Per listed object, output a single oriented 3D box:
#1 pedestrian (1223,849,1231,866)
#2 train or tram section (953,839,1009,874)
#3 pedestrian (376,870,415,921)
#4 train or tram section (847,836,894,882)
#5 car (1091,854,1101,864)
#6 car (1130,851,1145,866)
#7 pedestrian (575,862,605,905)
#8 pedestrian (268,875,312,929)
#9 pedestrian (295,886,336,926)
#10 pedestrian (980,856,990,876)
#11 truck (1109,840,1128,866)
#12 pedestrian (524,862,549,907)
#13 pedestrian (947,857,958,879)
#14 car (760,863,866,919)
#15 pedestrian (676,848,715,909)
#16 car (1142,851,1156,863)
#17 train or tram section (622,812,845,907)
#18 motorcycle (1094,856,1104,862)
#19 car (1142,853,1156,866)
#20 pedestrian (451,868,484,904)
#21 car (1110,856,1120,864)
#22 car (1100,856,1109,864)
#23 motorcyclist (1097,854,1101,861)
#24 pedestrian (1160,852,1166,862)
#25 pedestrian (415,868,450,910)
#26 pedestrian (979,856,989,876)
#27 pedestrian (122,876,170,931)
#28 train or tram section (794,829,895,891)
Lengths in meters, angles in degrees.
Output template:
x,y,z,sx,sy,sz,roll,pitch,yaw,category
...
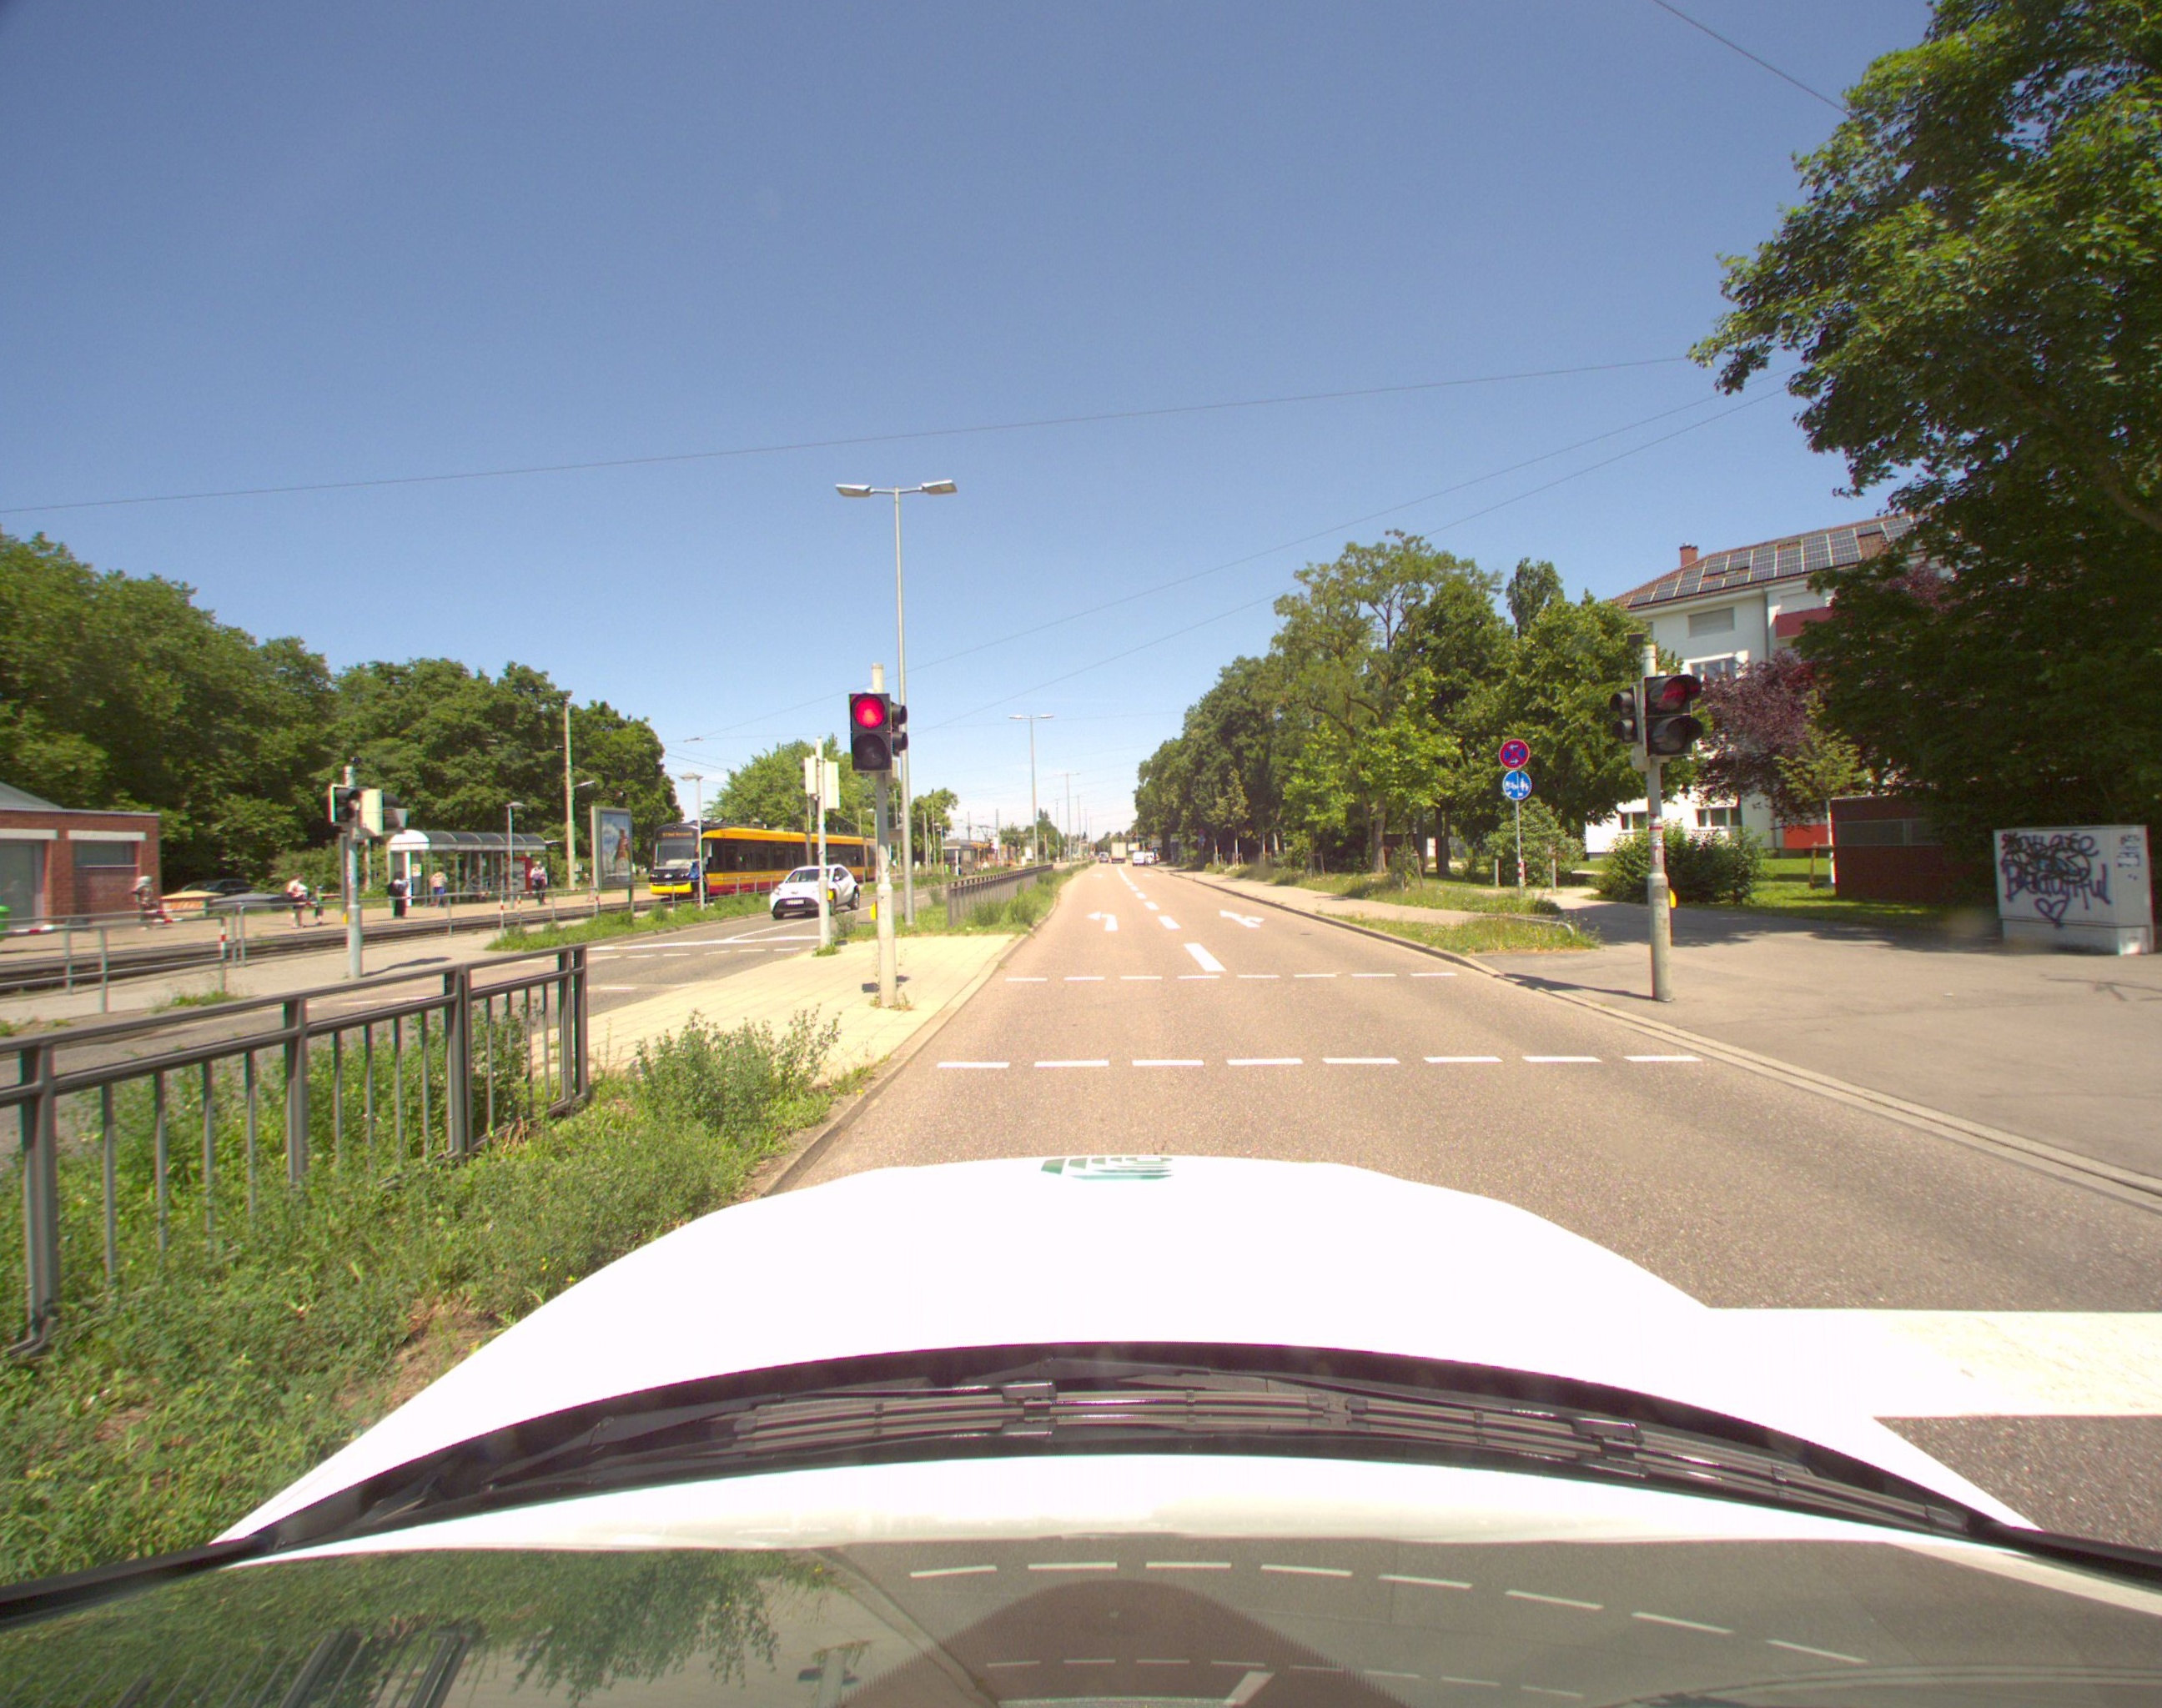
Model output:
x,y,z,sx,sy,sz,roll,pitch,yaw,category
12.663,0.313,70.495,0.600,1.438,0.557,-2,0,8,pedestrian
-12.299,0.337,104.262,2.947,3.749,30.035,-2,0,1,train or tram section
-21.556,1.282,25.616,0.635,1.555,0.691,-2,0,-11,pedestrian
-20.665,0.518,79.079,3.225,3.931,18.385,-2,0,-18,train or tram section
3.311,1.102,175.329,1.986,2.013,4.002,-2,0,2,car
7.290,0.565,105.536,1.773,1.903,4.002,-2,0,2,car
-21.216,1.249,35.179,0.715,1.777,0.843,3,2,1,pedestrian
-22.073,1.340,22.730,0.636,1.456,0.583,-2,0,1,pedestrian
-22.285,1.512,23.715,0.636,1.124,0.570,-2,0,1,pedestrian
-9.916,1.241,84.062,0.812,2.013,0.939,-2,0,1,pedestrian
6.760,-0.165,146.134,3.193,4.359,6.563,-2,0,2,truck
-22.331,1.244,33.412,0.725,1.800,0.835,-1,-1,-41,pedestrian
-10.983,1.201,69.725,0.783,1.868,0.818,-2,0,1,pedestrian
-8.097,1.071,24.961,1.838,1.494,3.793,-2,0,2,car
-11.899,0.746,25.169,0.715,1.777,0.843,3,2,1,pedestrian
9.899,0.464,118.759,1.773,1.668,4.002,-2,0,2,car
-17.323,0.228,43.513,3.203,3.931,18.510,-2,0,2,train or tram section
4.417,1.294,200.460,2.183,1.406,0.845,-2,0,-10,motorcycle
9.378,0.722,112.418,1.773,1.668,4.002,-2,0,2,car
-26.283,1.371,34.890,0.836,1.511,0.723,-2,0,12,pedestrian
6.474,1.149,153.685,1.804,1.464,4.002,-2,0,2,car
4.545,1.176,158.002,1.804,1.464,4.002,-2,0,2,car
4.428,0.813,200.453,0.924,1.835,0.847,-2,0,-10,motorcyclist
16.426,0.547,162.965,1.180,2.013,1.214,-2,0,1,pedestrian
-25.201,1.338,31.644,0.669,1.590,0.808,-2,0,1,pedestrian
-10.136,1.253,85.361,0.812,2.013,0.939,-2,0,1,pedestrian
-25.906,1.364,22.562,0.636,1.480,0.570,-2,0,1,pedestrian
-17.327,0.400,61.651,3.209,3.931,18.475,-2,0,-4,train or tram section
